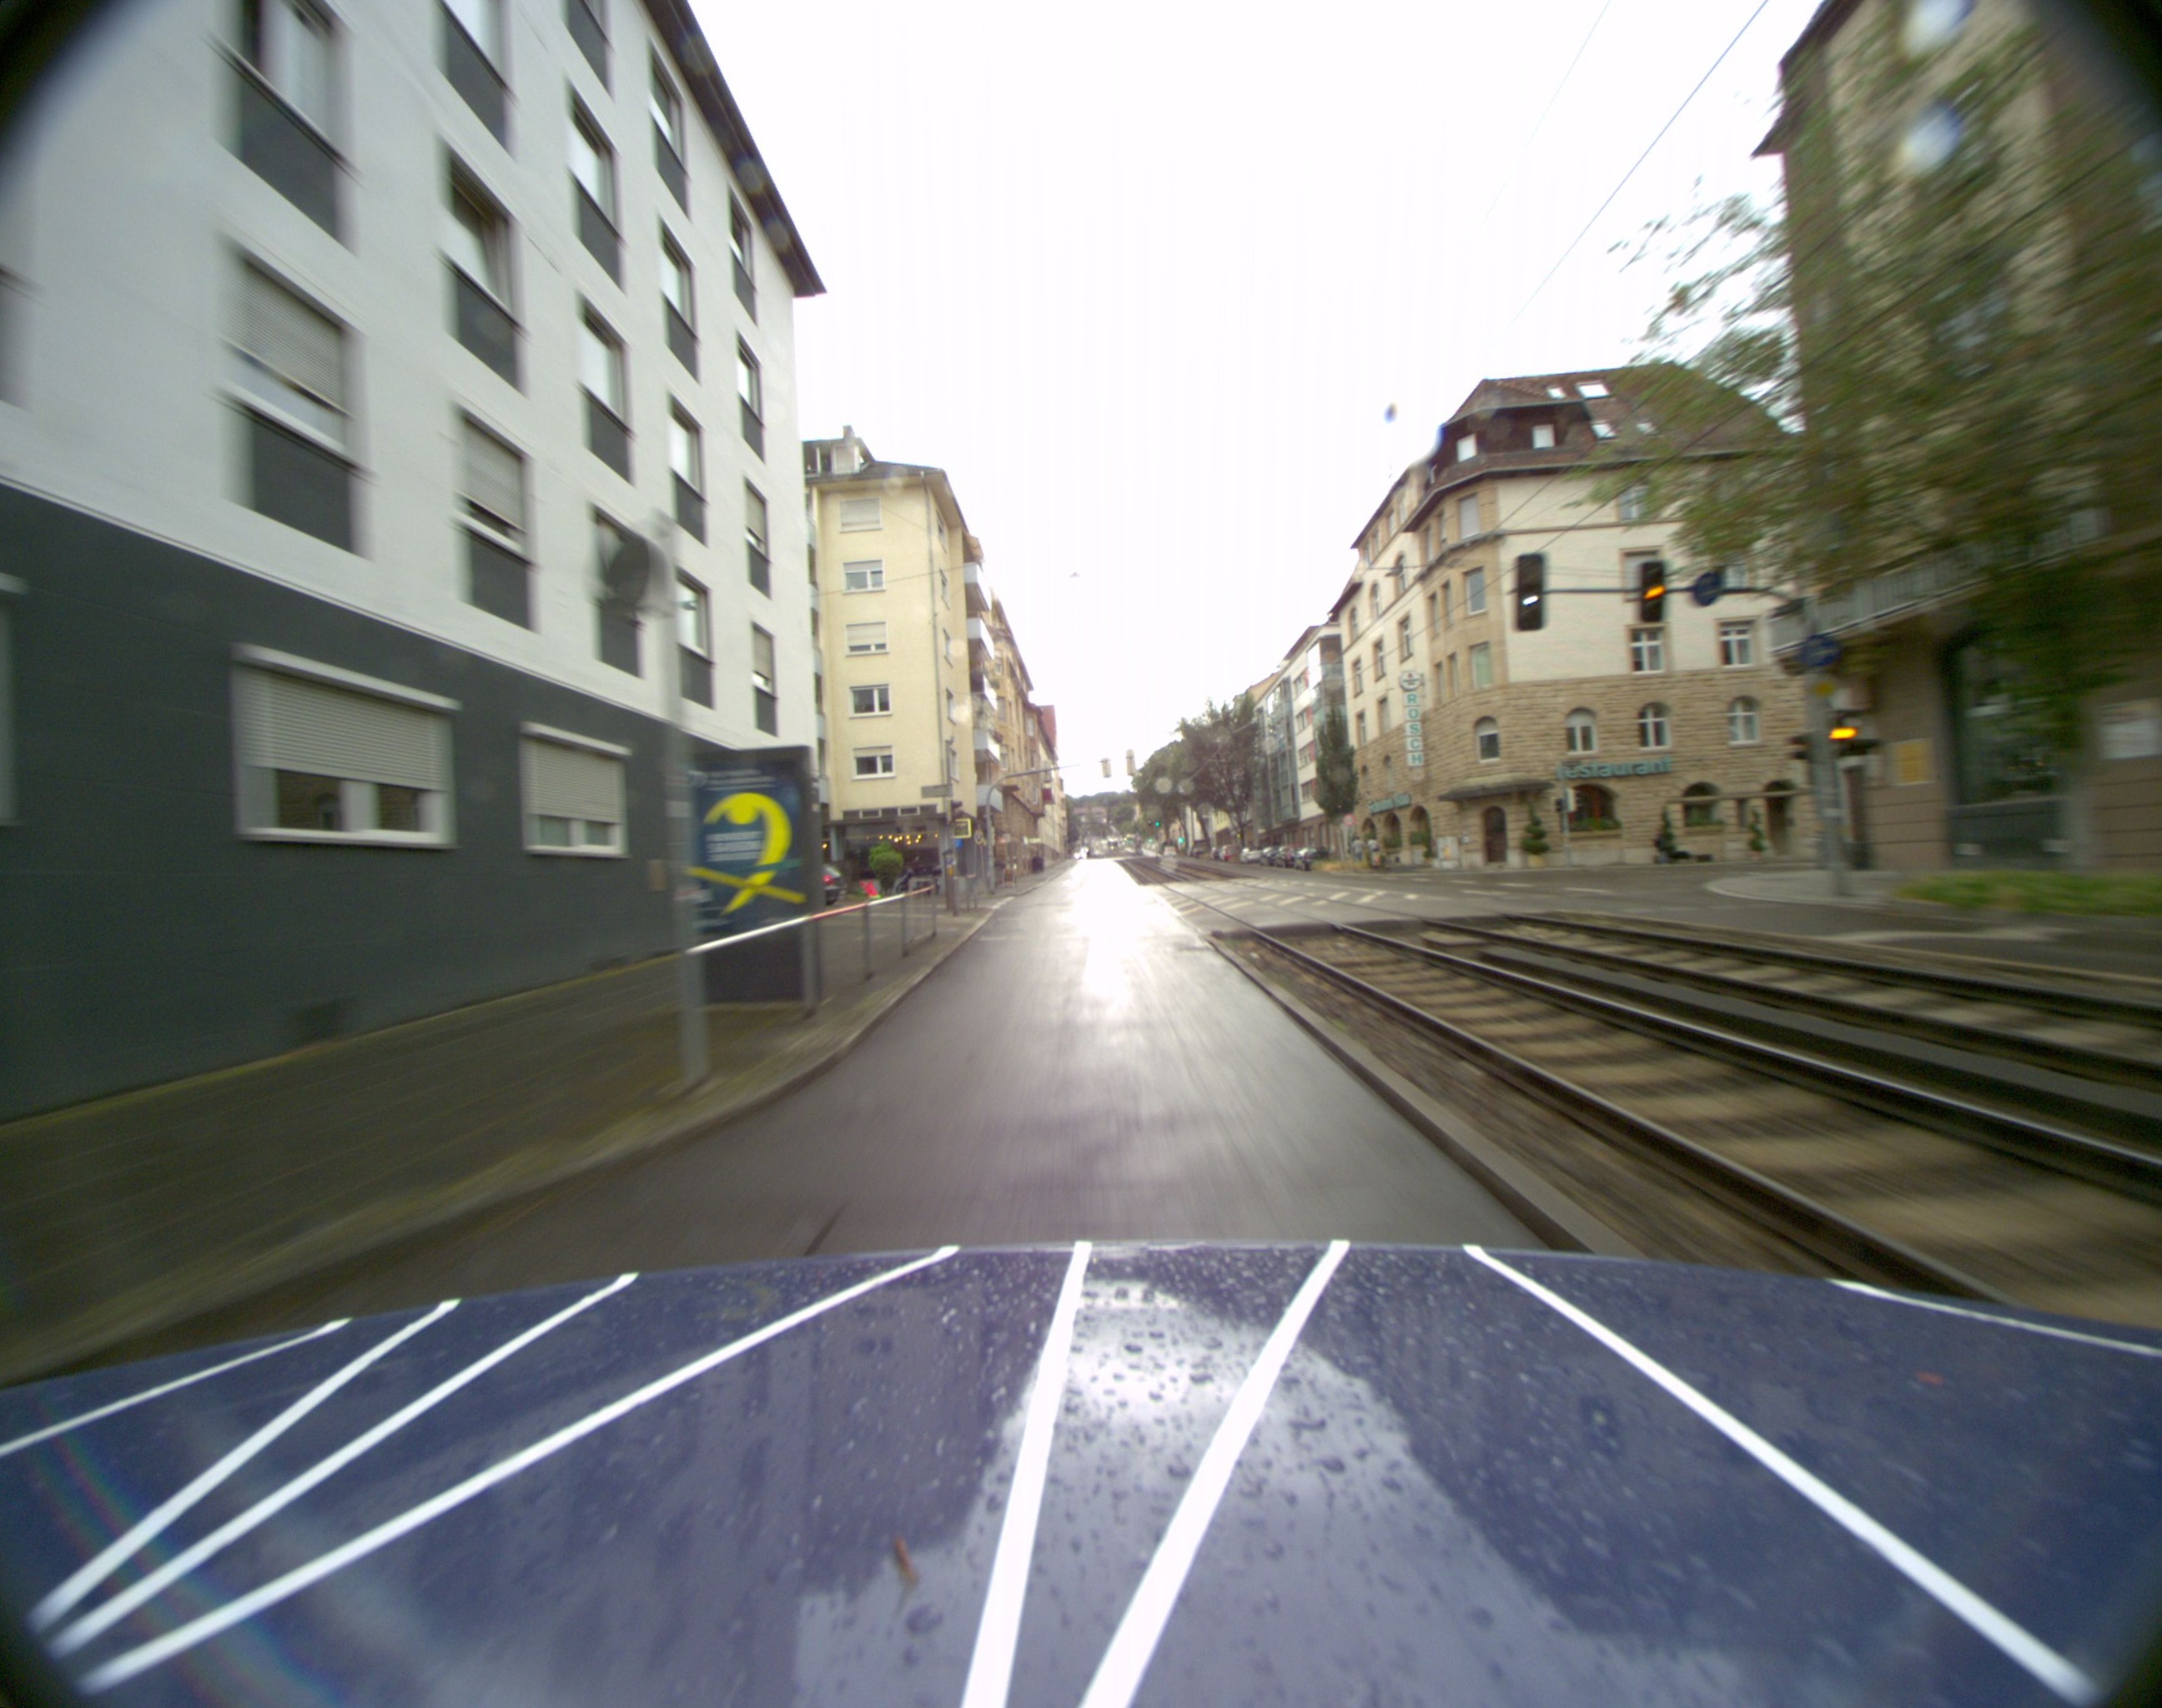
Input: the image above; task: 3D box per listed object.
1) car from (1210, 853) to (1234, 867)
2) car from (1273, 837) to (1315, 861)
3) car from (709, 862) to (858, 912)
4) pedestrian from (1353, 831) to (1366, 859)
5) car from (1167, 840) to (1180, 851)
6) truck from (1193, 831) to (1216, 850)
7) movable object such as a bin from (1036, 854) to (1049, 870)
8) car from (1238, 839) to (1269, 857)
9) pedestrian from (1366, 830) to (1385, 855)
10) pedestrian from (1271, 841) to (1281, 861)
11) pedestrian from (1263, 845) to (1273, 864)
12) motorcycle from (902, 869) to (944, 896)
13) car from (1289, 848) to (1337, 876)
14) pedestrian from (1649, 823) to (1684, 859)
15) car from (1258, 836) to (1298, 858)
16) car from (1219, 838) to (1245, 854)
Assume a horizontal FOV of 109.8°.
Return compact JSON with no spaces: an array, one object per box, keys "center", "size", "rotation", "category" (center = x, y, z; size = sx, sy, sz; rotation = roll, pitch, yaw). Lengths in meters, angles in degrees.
[{"center":[15.474,0.652,83.569],"size":[1.911,1.432,4.469],"rotation":[-3,0,1],"category":"car"},{"center":[14.348,-0.327,51.410],"size":[1.811,1.489,3.526],"rotation":[-4,0,1],"category":"car"},{"center":[-9.348,1.023,24.071],"size":[3.996,1.406,1.762],"rotation":[-2,-1,2],"category":"car"},{"center":[16.053,-0.506,43.780],"size":[0.518,1.561,0.643],"rotation":[-2,1,5],"category":"pedestrian"},{"center":[13.850,-1.290,113.876],"size":[1.631,1.473,3.581],"rotation":[-3,0,3],"category":"car"},{"center":[15.864,-1.745,97.668],"size":[2.197,2.332,6.352],"rotation":[-2,1,4],"category":"truck"},{"center":[-3.485,0.693,68.624],"size":[1.011,1.443,1.393],"rotation":[-1,1,2],"category":"movable object such as a bin"},{"center":[14.729,-0.494,65.056],"size":[1.706,1.328,4.130],"rotation":[-5,0,2],"category":"car"},{"center":[16.931,-0.643,43.689],"size":[0.756,1.413,0.645],"rotation":[-3,1,3],"category":"pedestrian"},{"center":[17.915,-0.245,69.694],"size":[0.675,1.762,0.782],"rotation":[-3,1,2],"category":"pedestrian"},{"center":[17.157,0.040,69.718],"size":[0.675,1.762,0.782],"rotation":[-3,1,2],"category":"pedestrian"},{"center":[-6.761,1.208,32.459],"size":[1.648,1.155,0.600],"rotation":[0,1,3],"category":"motorcycle"},{"center":[14.165,0.496,46.506],"size":[1.769,1.543,3.895],"rotation":[-3,0,2],"category":"car"},{"center":[23.641,-0.512,30.687],"size":[0.818,1.407,0.721],"rotation":[-2,1,5],"category":"pedestrian"},{"center":[14.451,-0.487,55.981],"size":[1.805,1.446,4.430],"rotation":[-3,0,1],"category":"car"},{"center":[15.150,-0.796,76.363],"size":[1.780,1.560,4.159],"rotation":[-3,0,1],"category":"car"}]
